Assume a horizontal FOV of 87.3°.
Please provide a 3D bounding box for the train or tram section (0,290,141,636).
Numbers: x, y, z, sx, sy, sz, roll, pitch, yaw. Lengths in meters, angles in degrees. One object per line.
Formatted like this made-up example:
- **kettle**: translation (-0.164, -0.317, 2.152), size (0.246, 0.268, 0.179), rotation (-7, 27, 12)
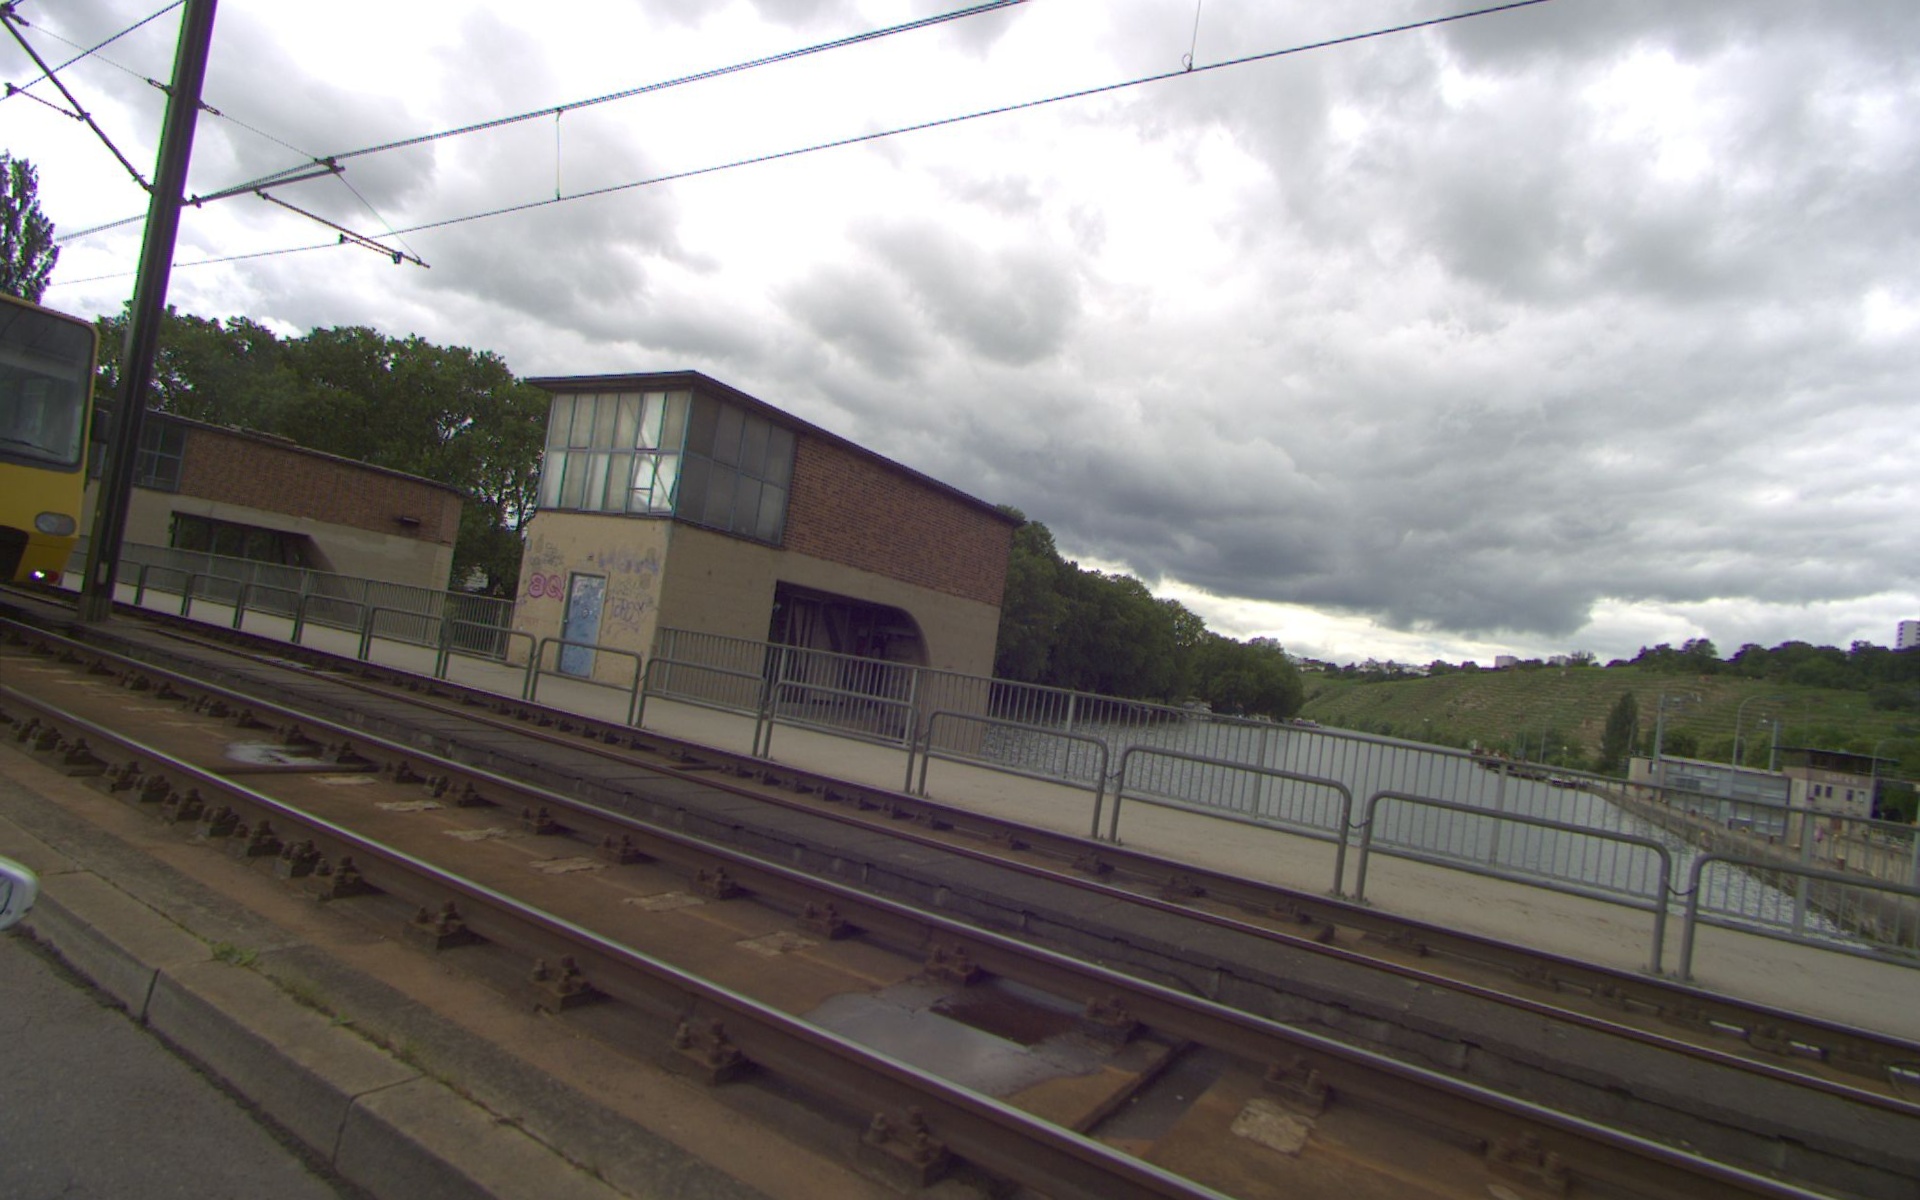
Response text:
- **train or tram section**: translation (-18.090, -2.433, 15.024), size (18.354, 3.551, 2.887), rotation (7, -1, 31)
